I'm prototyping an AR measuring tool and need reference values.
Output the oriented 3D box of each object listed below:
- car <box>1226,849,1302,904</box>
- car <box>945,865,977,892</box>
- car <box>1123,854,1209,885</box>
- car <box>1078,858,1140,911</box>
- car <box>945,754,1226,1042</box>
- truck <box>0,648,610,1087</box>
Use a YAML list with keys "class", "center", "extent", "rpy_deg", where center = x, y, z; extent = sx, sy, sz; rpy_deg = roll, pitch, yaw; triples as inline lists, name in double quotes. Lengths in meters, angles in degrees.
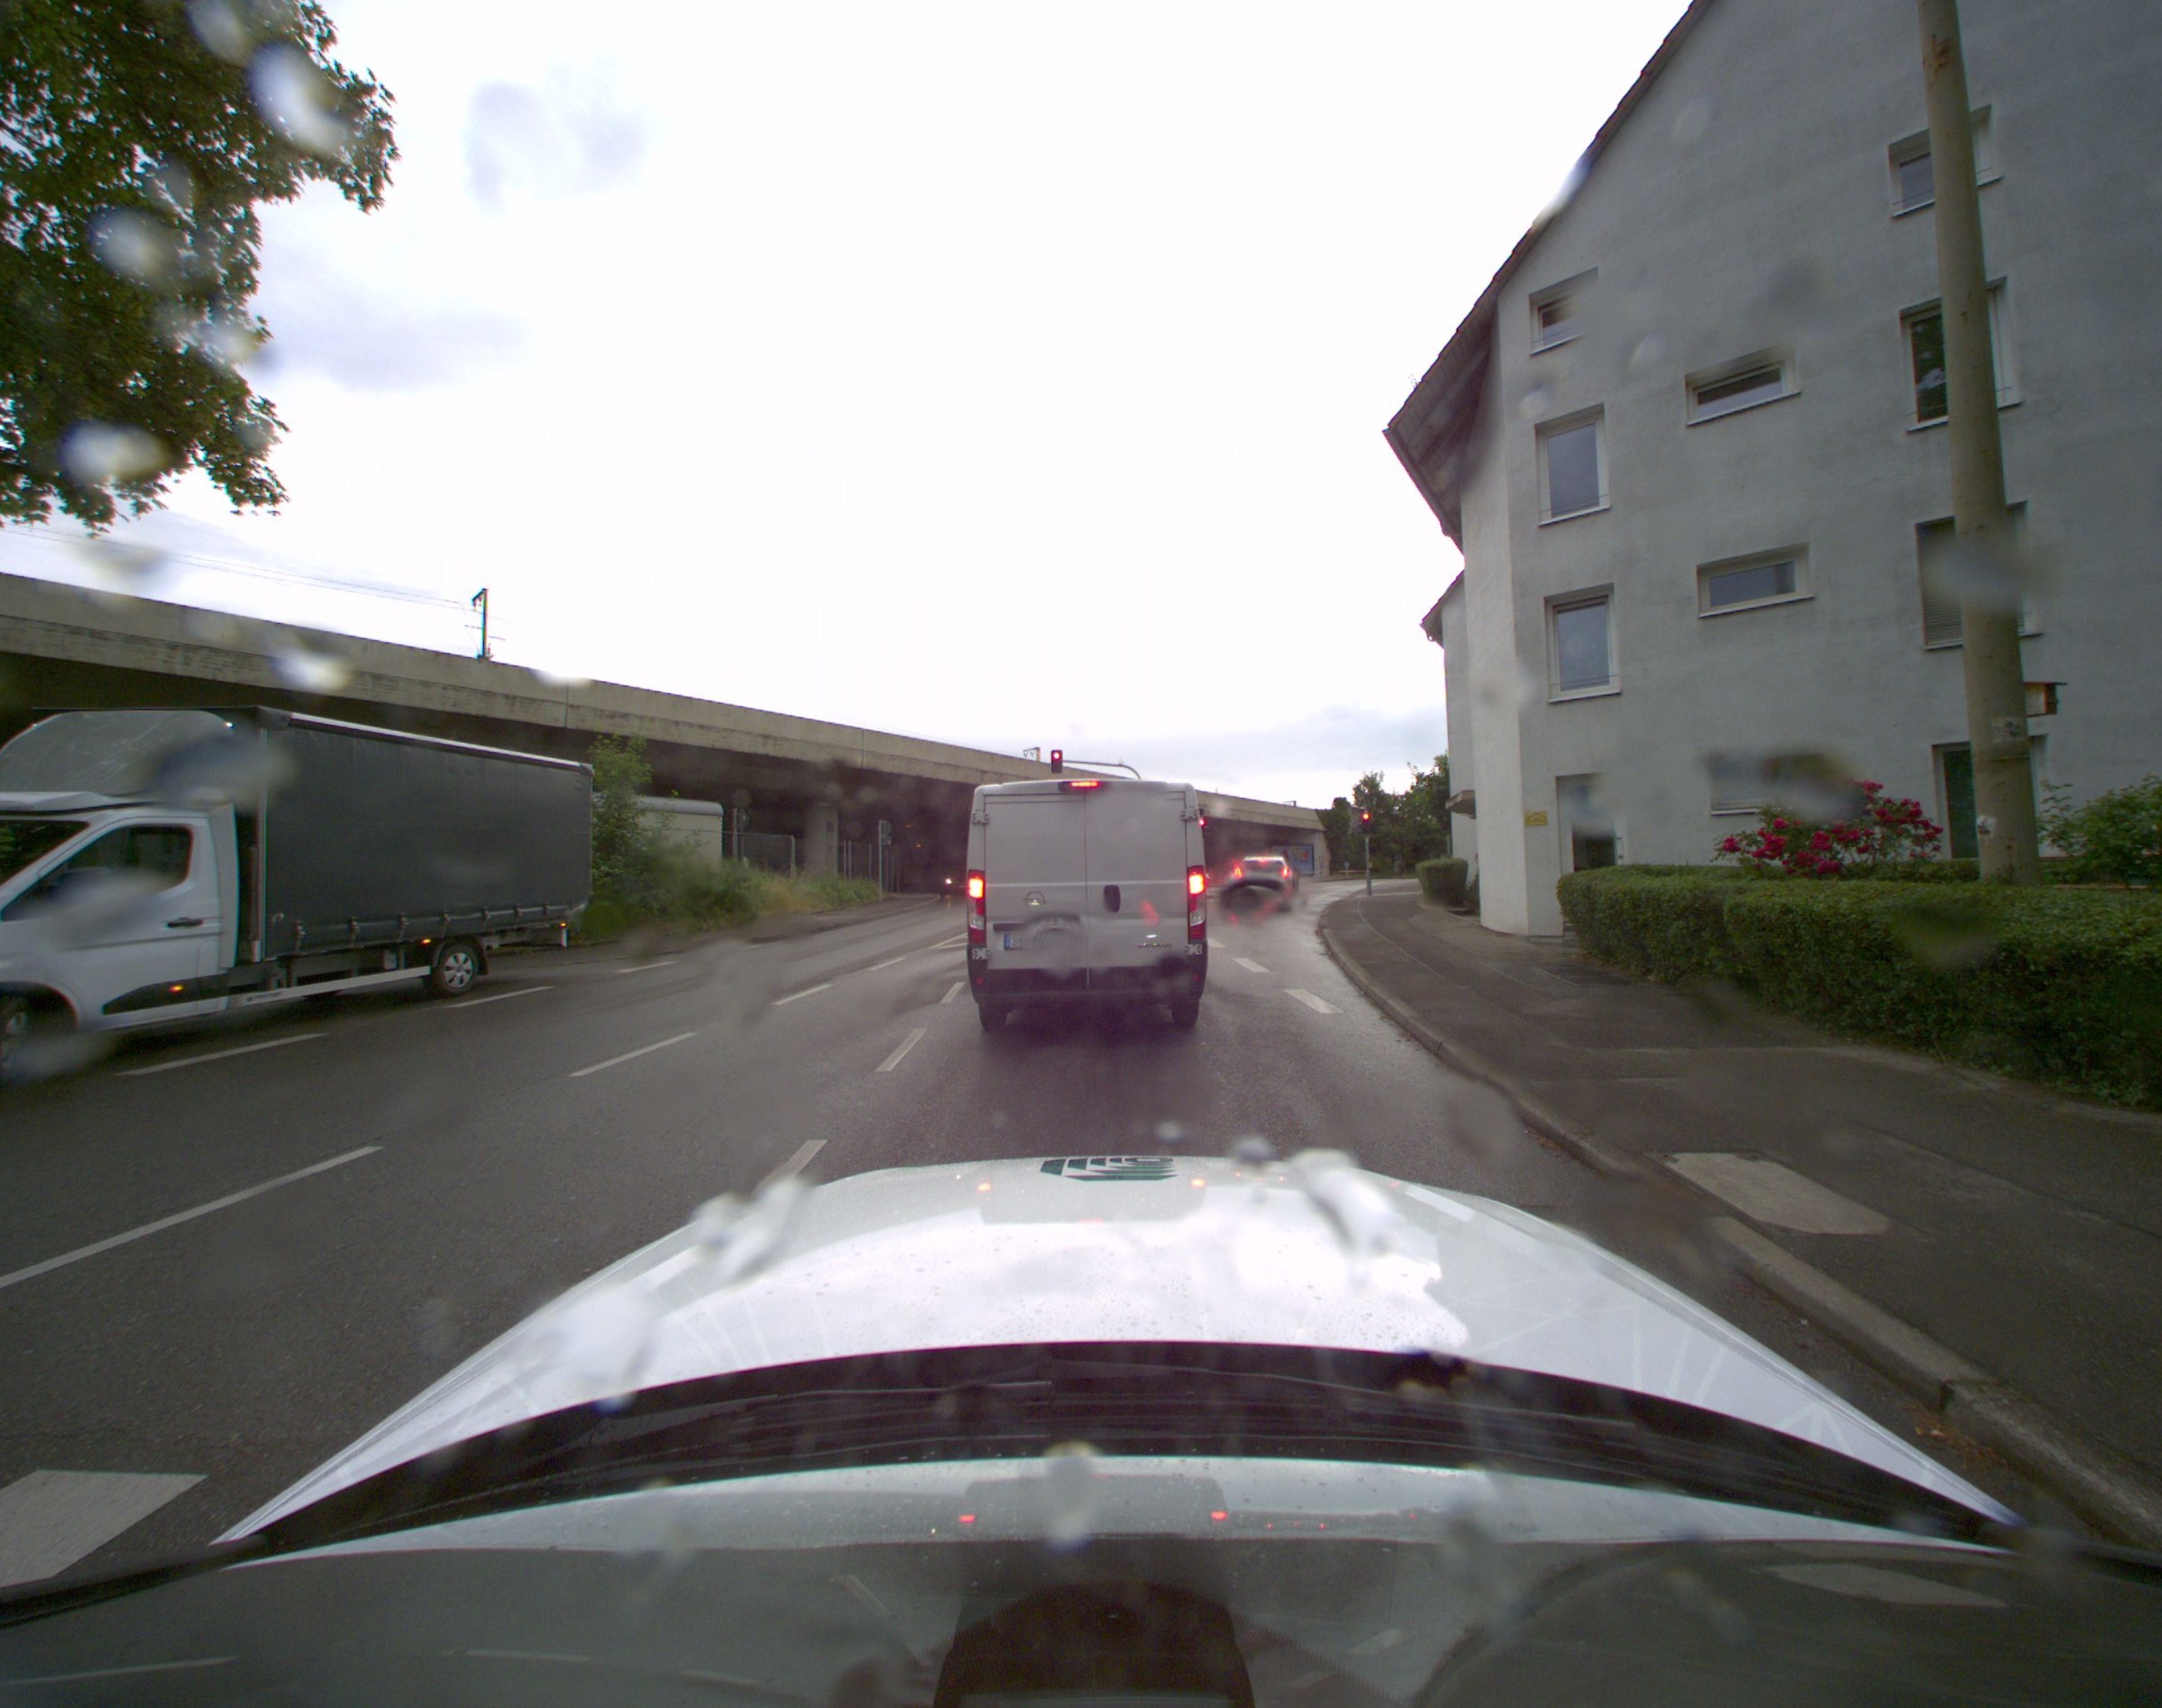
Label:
- class: "car"
  center: [5.759, 0.697, 25.278]
  extent: [1.978, 1.549, 4.017]
  rpy_deg: [-2, -2, 17]
- class: "car"
  center: [-7.474, 1.493, 50.892]
  extent: [1.913, 1.626, 4.422]
  rpy_deg: [-1, -1, -8]
- class: "car"
  center: [4.433, 0.838, 42.377]
  extent: [3.952, 1.519, 2.011]
  rpy_deg: [-2, -2, 23]
- class: "car"
  center: [1.062, 1.070, 28.829]
  extent: [1.984, 1.729, 4.004]
  rpy_deg: [-1, -2, 5]
- class: "car"
  center: [0.190, 0.417, 9.308]
  extent: [2.295, 2.343, 5.286]
  rpy_deg: [0, -1, 3]
- class: "truck"
  center: [-9.077, 0.179, 9.200]
  extent: [2.599, 3.237, 7.782]
  rpy_deg: [-1, -1, 3]
